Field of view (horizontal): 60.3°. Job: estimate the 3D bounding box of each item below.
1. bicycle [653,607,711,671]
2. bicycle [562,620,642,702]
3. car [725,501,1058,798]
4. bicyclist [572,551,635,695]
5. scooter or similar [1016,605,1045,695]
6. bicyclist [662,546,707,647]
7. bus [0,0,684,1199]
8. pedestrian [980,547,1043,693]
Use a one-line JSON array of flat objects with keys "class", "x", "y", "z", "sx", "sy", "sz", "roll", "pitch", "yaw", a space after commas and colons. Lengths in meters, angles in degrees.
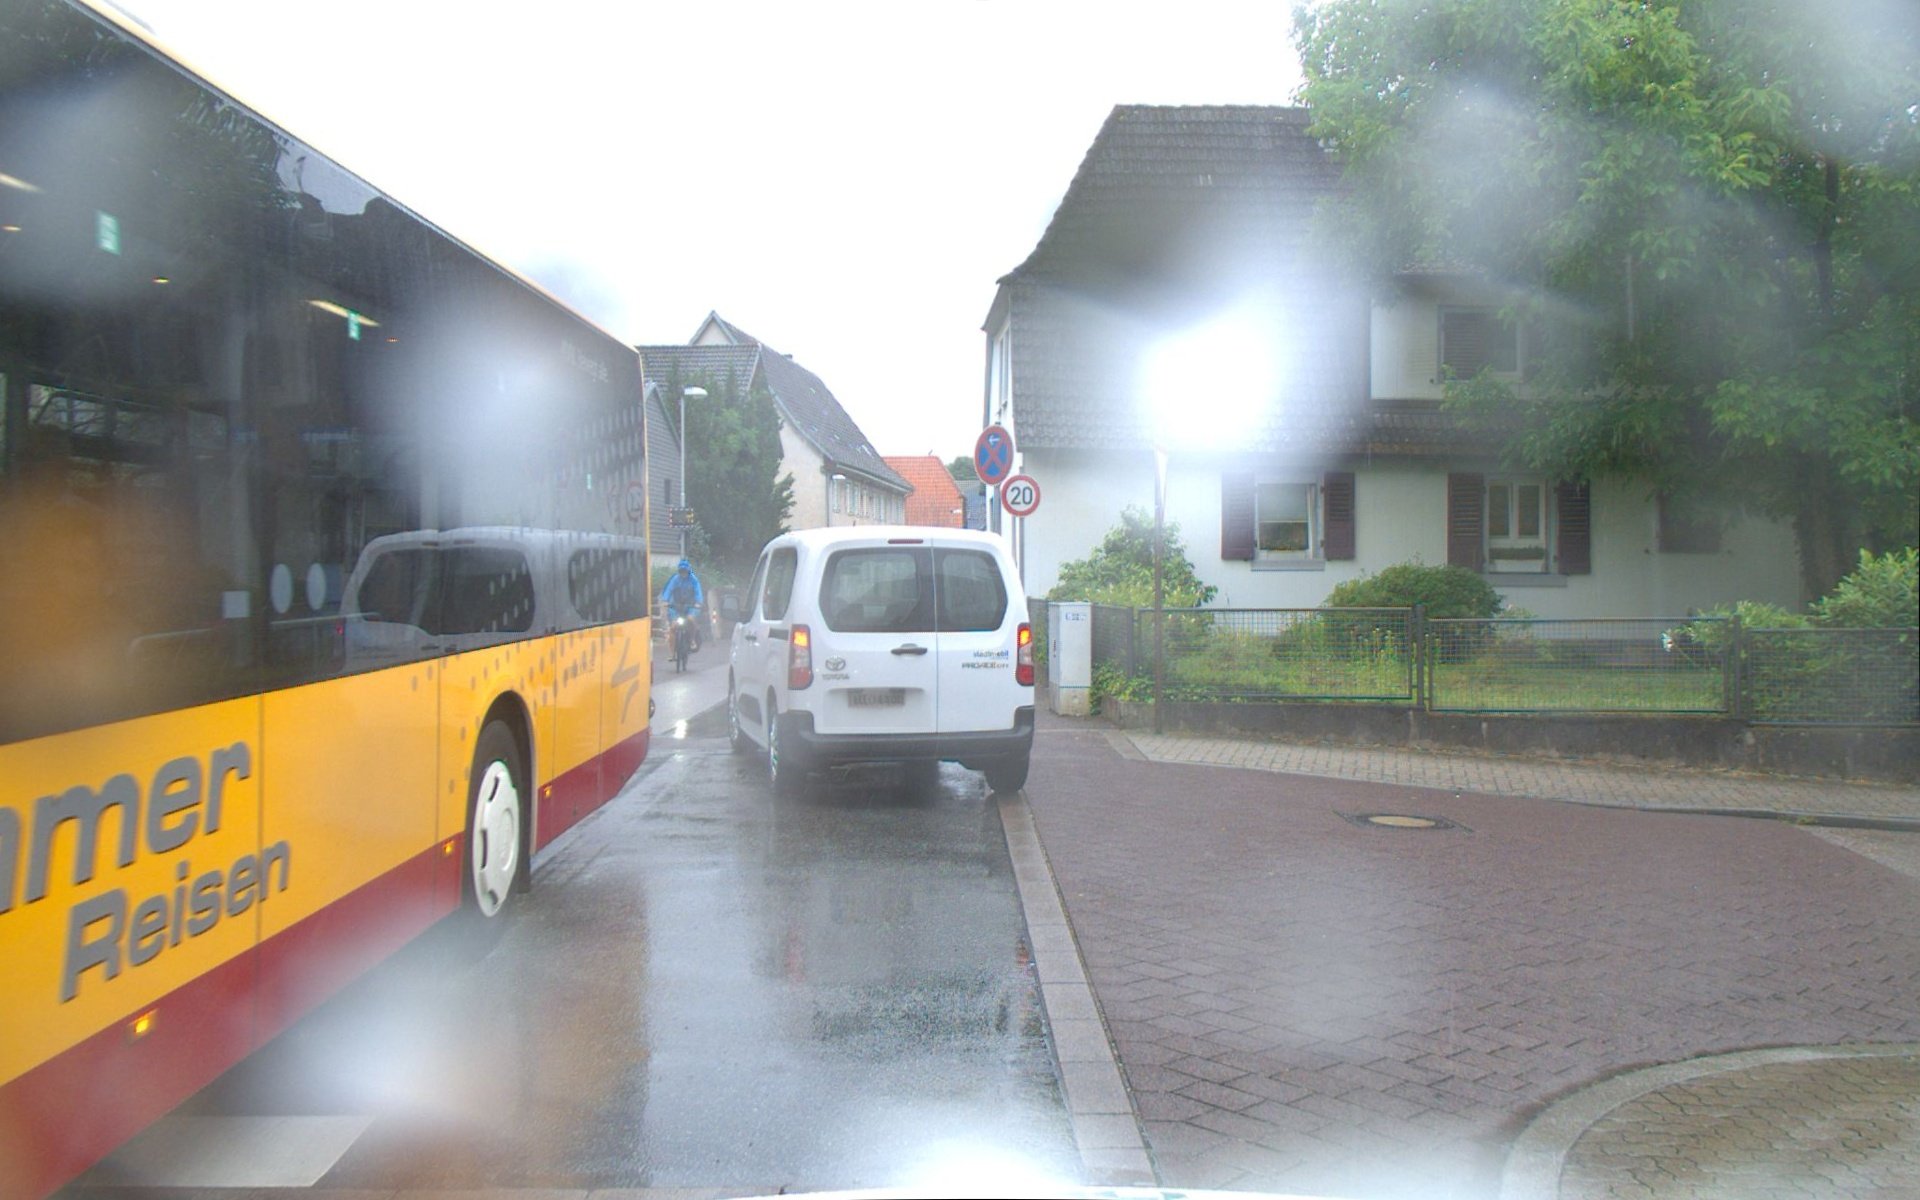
[{"class": "bicycle", "x": -4.851, "y": 0.662, "z": 29.021, "sx": 0.667, "sy": 1.069, "sz": 2.338, "roll": 1, "pitch": 0, "yaw": -2}, {"class": "bicycle", "x": -4.565, "y": 0.756, "z": 21.179, "sx": 0.648, "sy": 0.885, "sz": 1.934, "roll": 1, "pitch": 2, "yaw": -2}, {"class": "car", "x": -0.695, "y": 0.340, "z": 12.540, "sx": 1.764, "sy": 1.850, "sz": 4.087, "roll": 2, "pitch": -1, "yaw": -13}, {"class": "bicyclist", "x": -4.556, "y": 0.282, "z": 21.171, "sx": 0.643, "sy": 1.800, "sz": 0.703, "roll": 1, "pitch": 2, "yaw": -2}, {"class": "scooter or similar", "x": 0.873, "y": 0.604, "z": 20.463, "sx": 0.240, "sy": 1.046, "sz": 1.100, "roll": 2, "pitch": 1, "yaw": -2}, {"class": "bicyclist", "x": -4.832, "y": -0.062, "z": 29.043, "sx": 0.673, "sy": 1.743, "sz": 0.703, "roll": 1, "pitch": -1, "yaw": -2}, {"class": "bus", "x": -3.036, "y": -0.057, "z": 3.813, "sx": 2.749, "sy": 2.990, "sz": 11.941, "roll": 1, "pitch": 1, "yaw": 0}, {"class": "pedestrian", "x": 0.629, "y": 0.235, "z": 20.488, "sx": 0.680, "sy": 1.762, "sz": 0.821, "roll": 2, "pitch": 1, "yaw": -2}]
